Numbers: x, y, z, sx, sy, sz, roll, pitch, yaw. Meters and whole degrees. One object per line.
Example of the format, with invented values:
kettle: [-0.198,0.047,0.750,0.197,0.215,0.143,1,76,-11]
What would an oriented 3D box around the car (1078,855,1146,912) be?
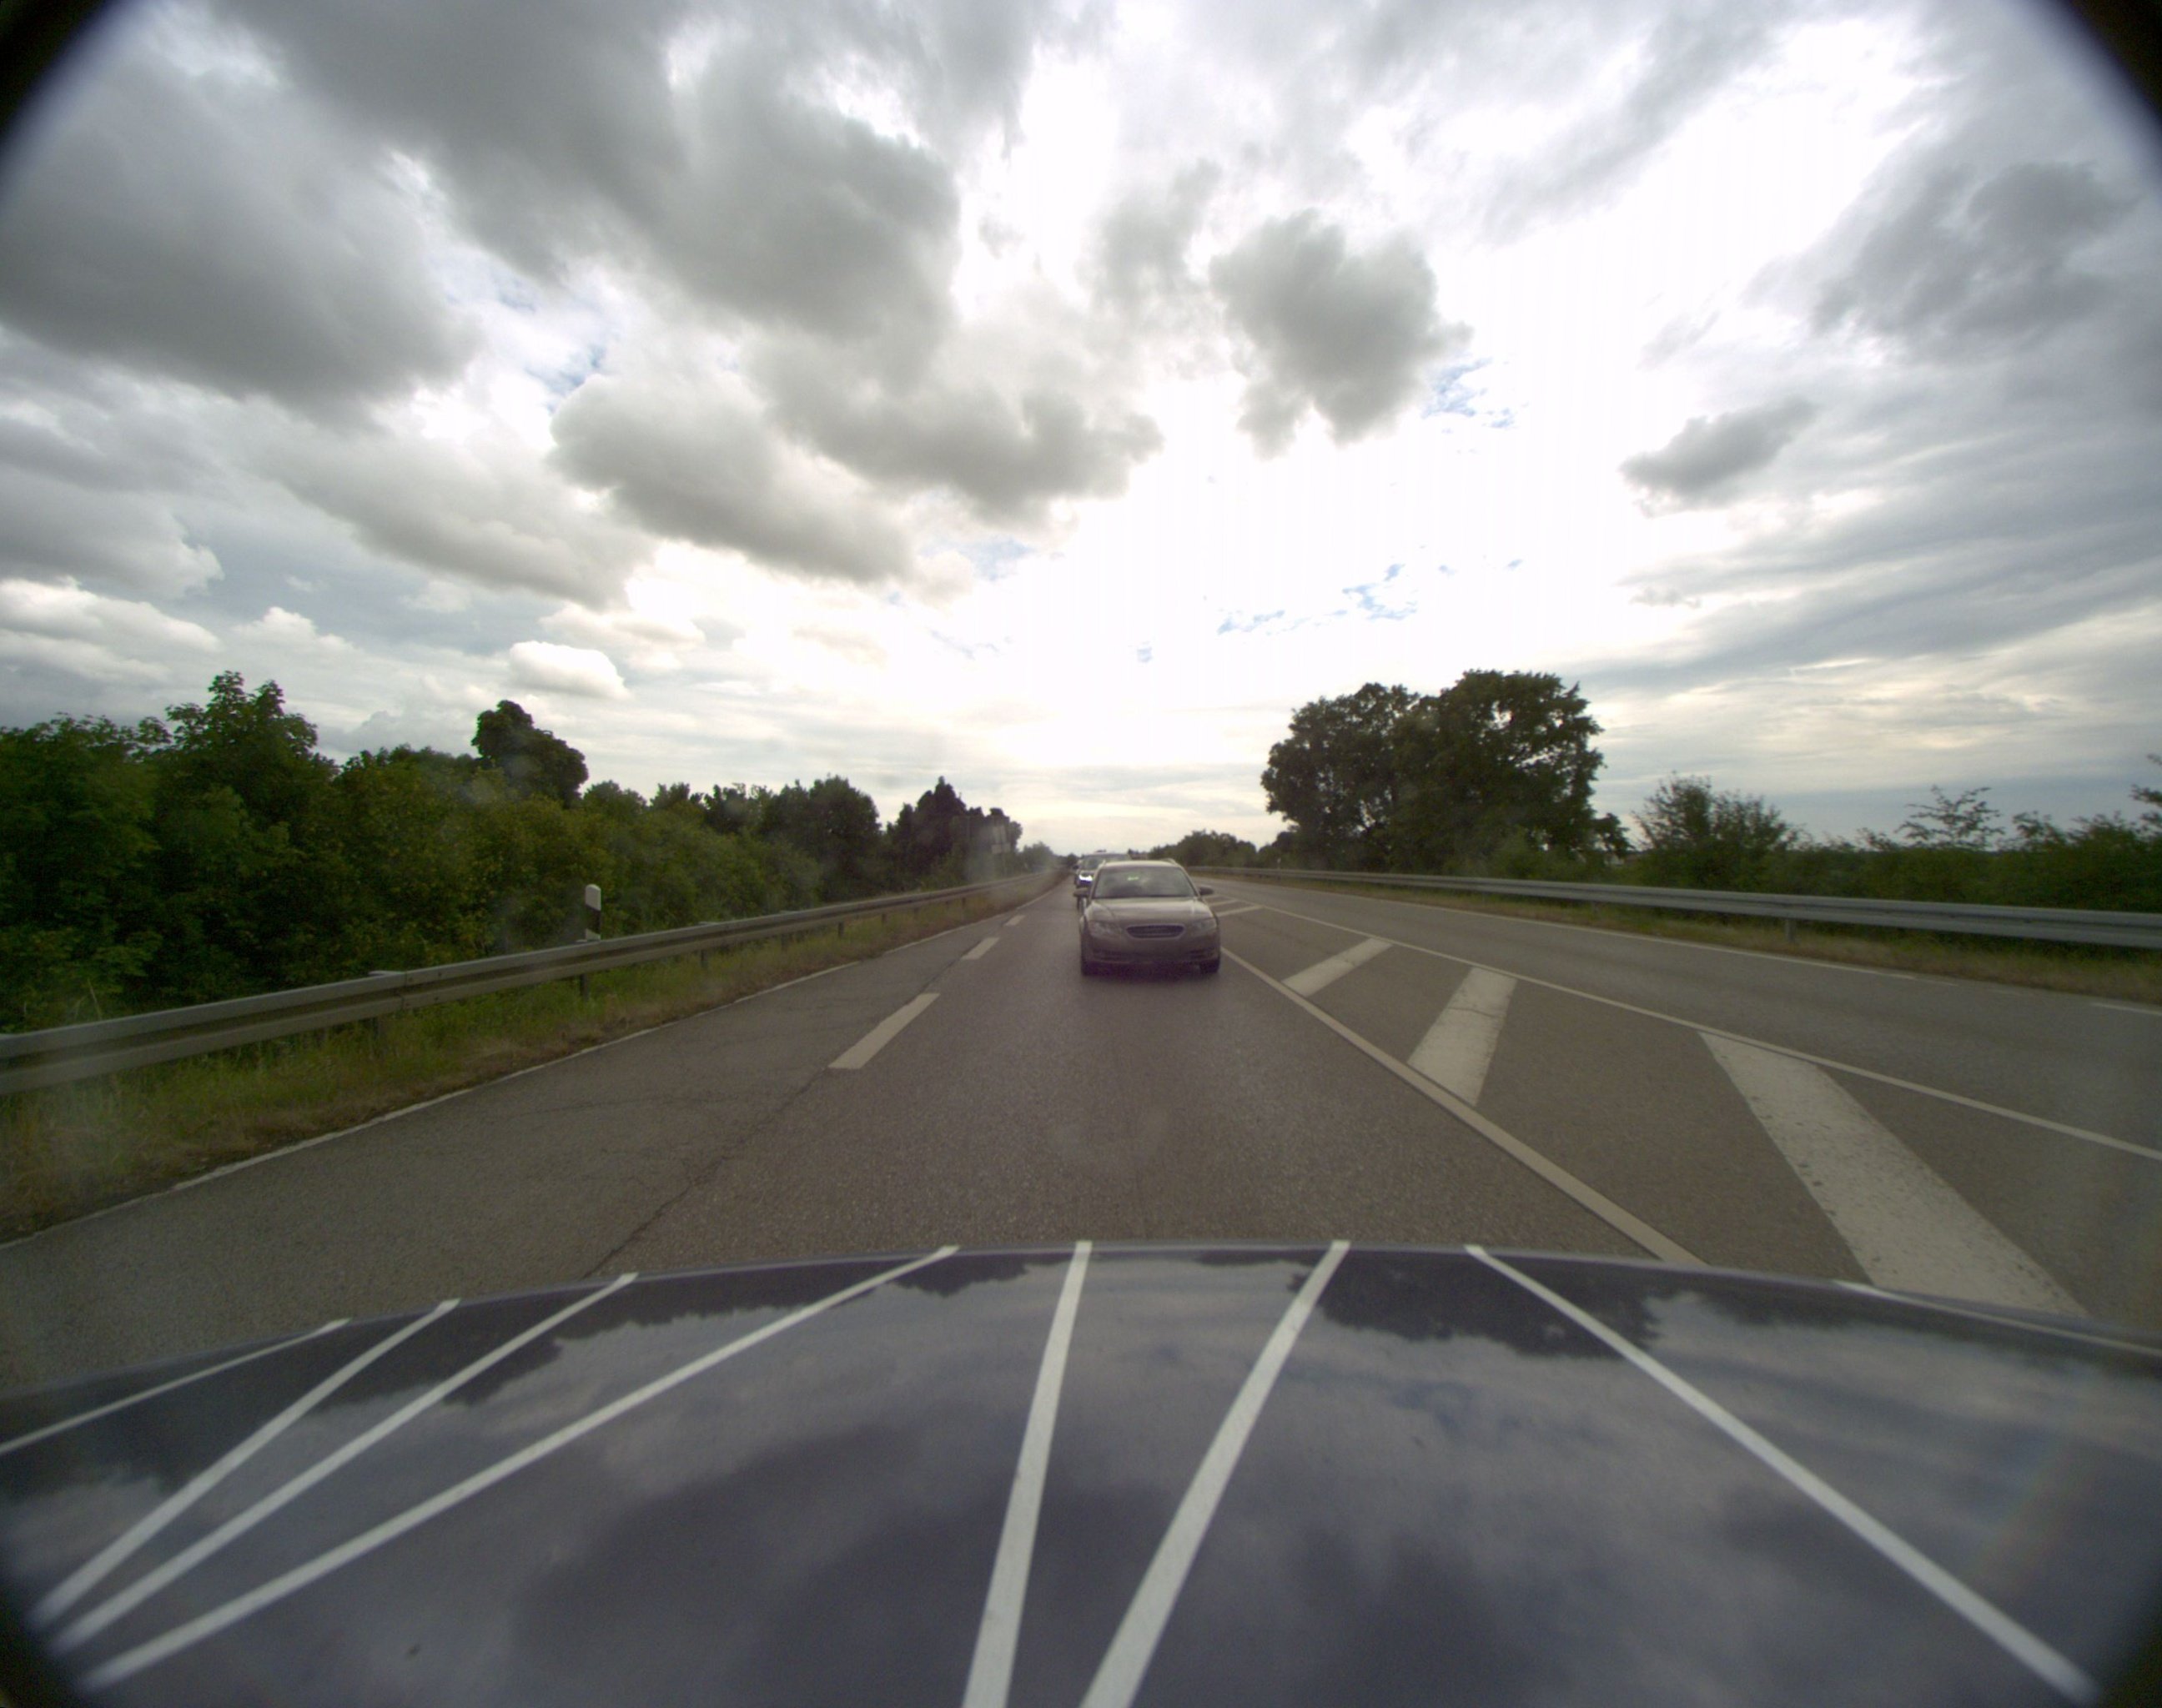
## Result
car: [0.887,0.820,23.155,1.834,1.537,4.035,-1,0,1]

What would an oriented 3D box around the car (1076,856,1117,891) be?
car: [0.734,0.913,37.061,1.834,1.537,4.035,-1,0,1]

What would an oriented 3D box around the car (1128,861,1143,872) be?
car: [7.585,1.695,105.771,1.675,1.421,4.257,-1,0,0]

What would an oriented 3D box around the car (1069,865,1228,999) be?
car: [0.802,0.925,10.693,1.784,1.441,4.035,-1,0,1]

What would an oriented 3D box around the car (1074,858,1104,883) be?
car: [0.511,1.019,49.313,1.834,1.537,4.035,-1,0,1]
